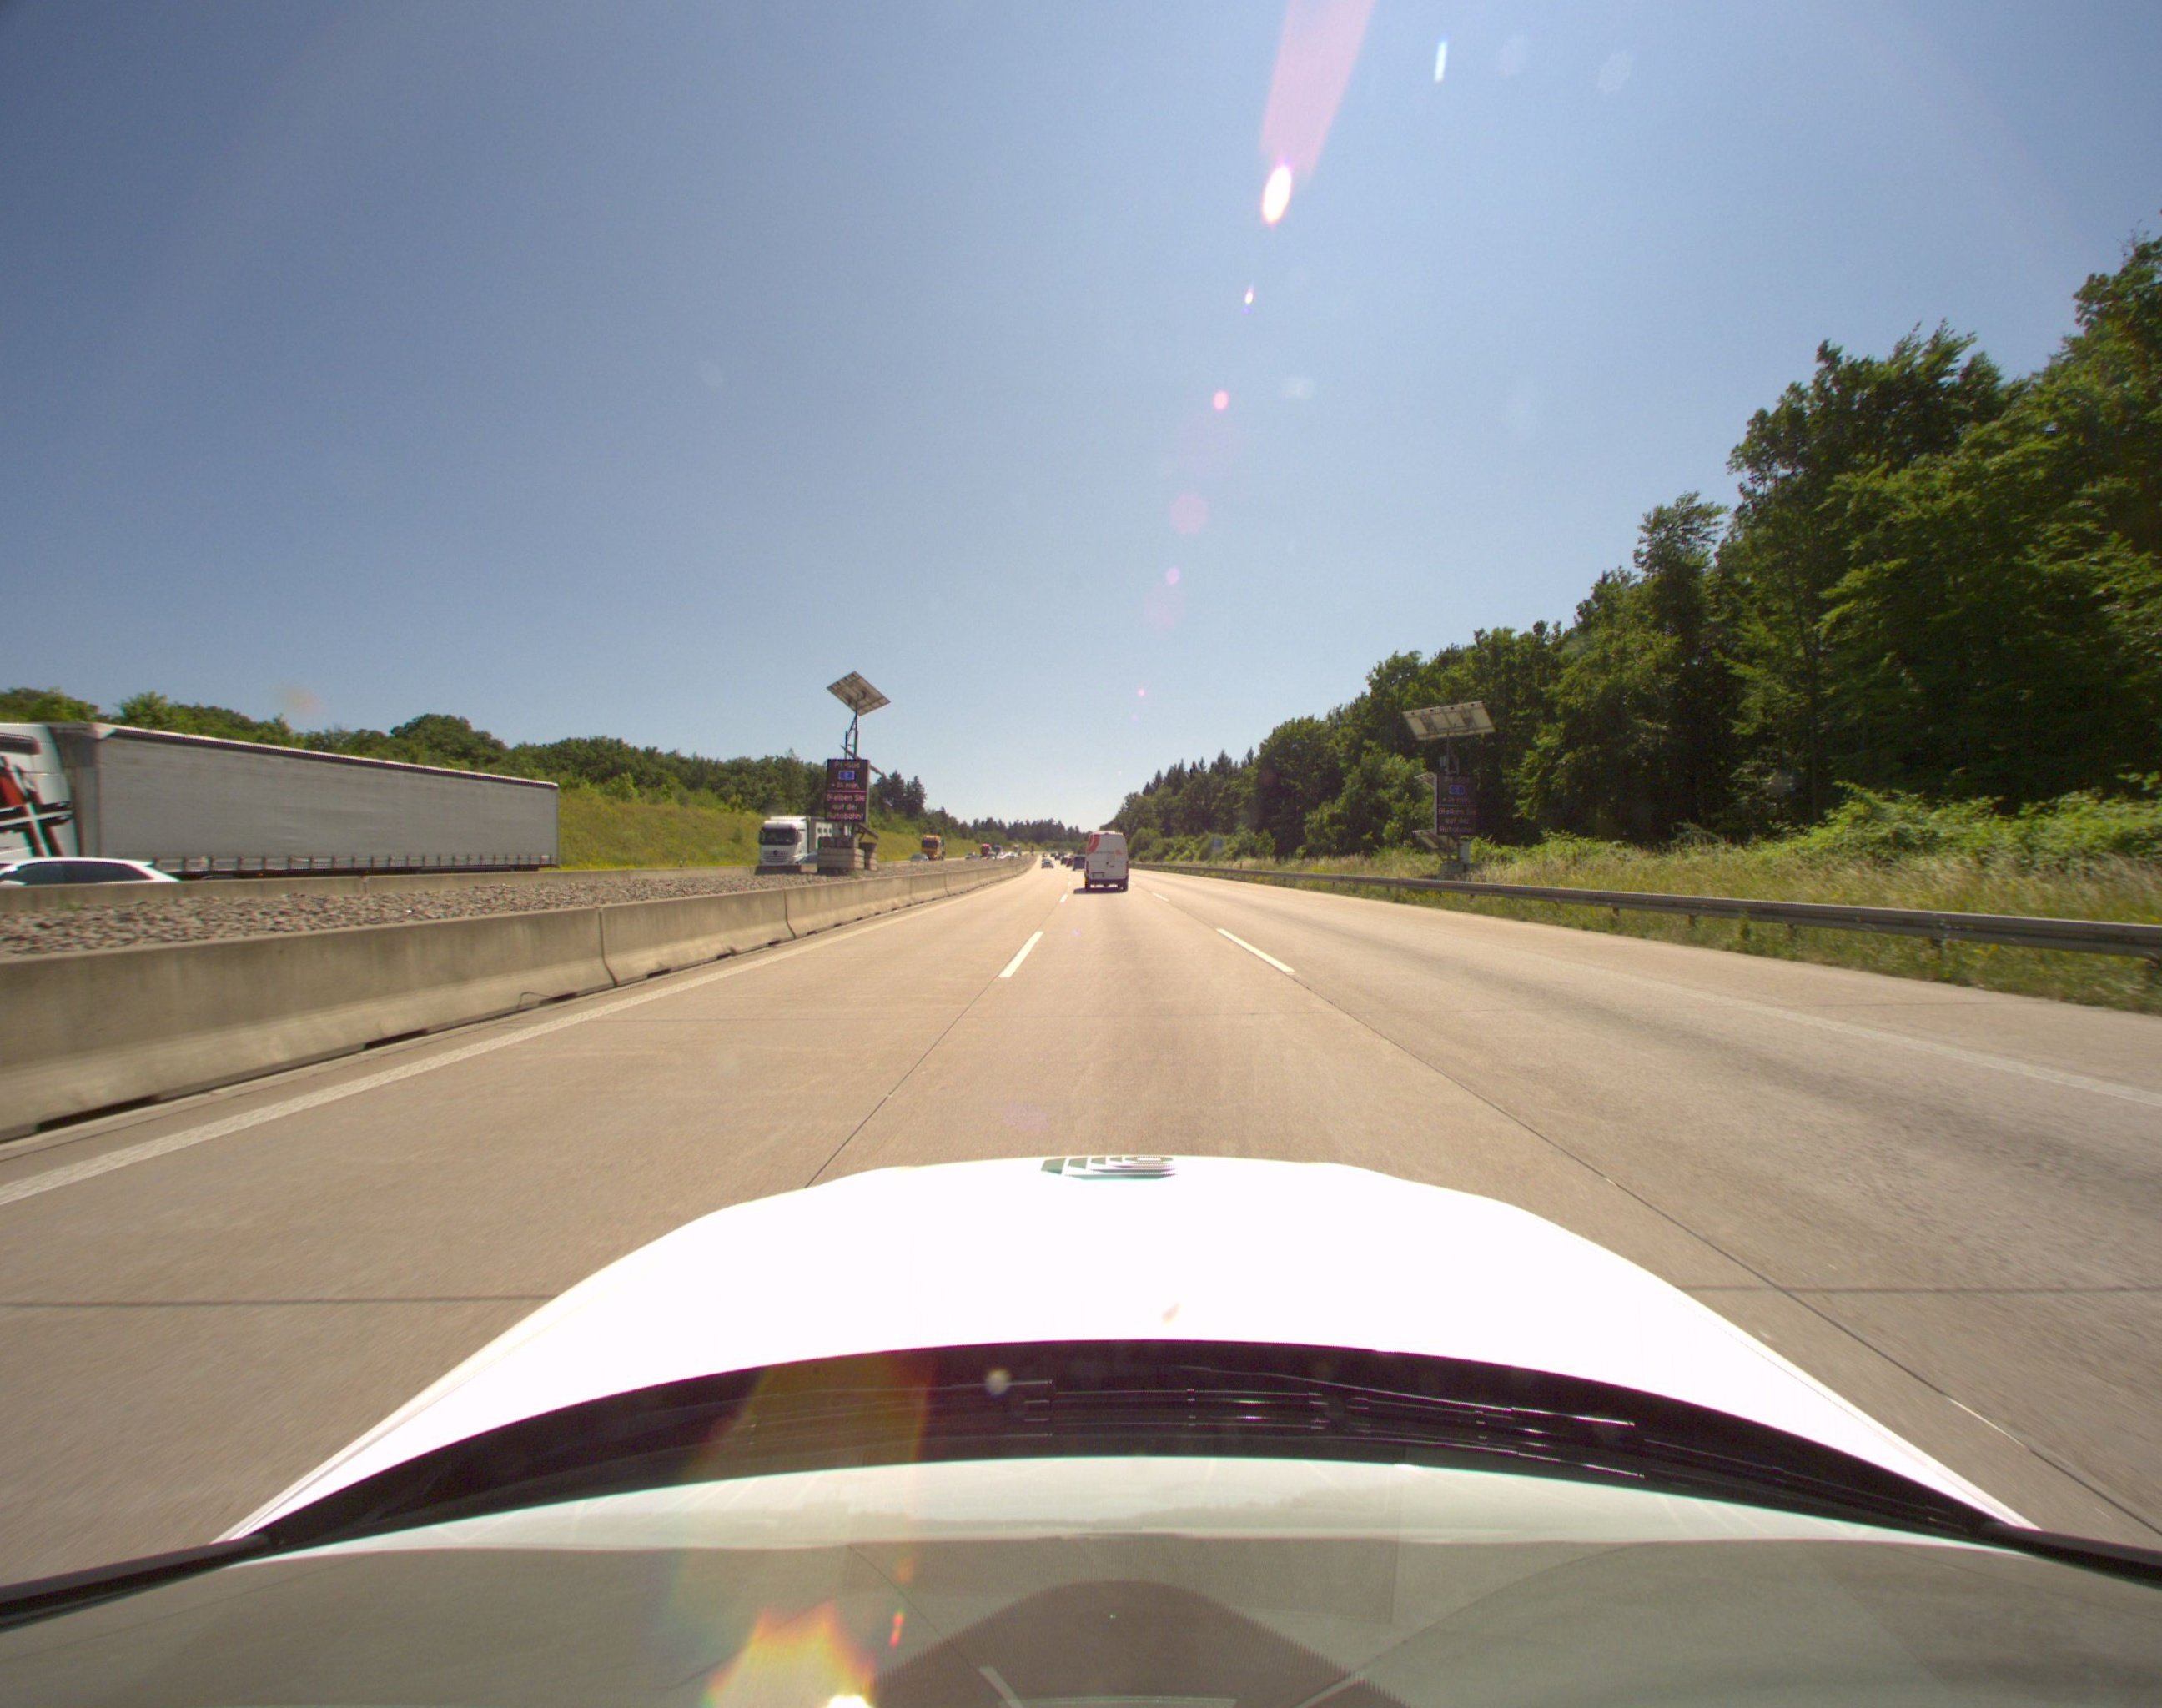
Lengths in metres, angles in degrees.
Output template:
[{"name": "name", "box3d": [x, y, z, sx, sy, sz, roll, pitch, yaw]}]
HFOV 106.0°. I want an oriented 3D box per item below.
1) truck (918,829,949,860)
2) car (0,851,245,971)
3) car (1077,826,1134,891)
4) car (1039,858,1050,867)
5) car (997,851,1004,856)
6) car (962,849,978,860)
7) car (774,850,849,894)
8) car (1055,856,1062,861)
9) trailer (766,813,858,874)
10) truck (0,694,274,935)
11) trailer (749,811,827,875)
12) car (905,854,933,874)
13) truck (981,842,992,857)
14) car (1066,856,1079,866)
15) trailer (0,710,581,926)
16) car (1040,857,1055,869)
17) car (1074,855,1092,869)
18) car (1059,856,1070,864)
[{"name": "truck", "box3d": [-22.409, -1.401, 124.400, 2.906, 4.513, 11.250, -1, 0, -2]}, {"name": "car", "box3d": [-16.058, 0.819, 12.626, 1.986, 1.684, 4.002, -1, 0, 2]}, {"name": "car", "box3d": [1.050, 0.189, 38.470, 2.222, 2.844, 5.448, 0, 0, -3]}, {"name": "car", "box3d": [-7.216, 1.644, 161.779, 1.986, 1.684, 4.001, 2, 0, 1]}, {"name": "car", "box3d": [-25.031, -0.077, 254.310, 1.989, 1.583, 4.176, 1, 0, -3]}, {"name": "car", "box3d": [-21.192, 0.038, 155.485, 2.276, 2.013, 4.802, -1, 0, 0]}, {"name": "car", "box3d": [-12.123, 0.790, 36.954, 1.986, 1.882, 4.001, -1, 0, 1]}, {"name": "car", "box3d": [-6.975, 1.415, 252.585, 1.986, 1.684, 4.001, 2, 0, 1]}, {"name": "trailer", "box3d": [-20.459, -0.669, 63.082, 2.925, 4.169, 13.181, 2, 0, -1]}, {"name": "truck", "box3d": [-20.210, -0.710, 15.681, 2.924, 4.169, 6.228, 2, -1, 0]}, {"name": "trailer", "box3d": [-20.320, -0.706, 56.930, 2.925, 4.169, 6.886, 2, 0, -1]}, {"name": "car", "box3d": [-16.560, 1.011, 83.488, 1.987, 2.014, 3.999, -1, 0, 0]}, {"name": "truck", "box3d": [-28.165, -1.386, 243.062, 2.926, 4.169, 5.976, 2, -1, -3]}, {"name": "car", "box3d": [-1.332, 1.128, 133.833, 1.986, 1.684, 4.001, 2, 0, 1]}, {"name": "trailer", "box3d": [-20.190, -0.656, 23.145, 2.924, 4.169, 14.386, 2, 0, 0]}, {"name": "car", "box3d": [-4.961, 1.310, 121.715, 1.986, 1.684, 4.001, 2, 0, 1]}, {"name": "car", "box3d": [0.251, 0.978, 100.781, 1.989, 1.684, 3.995, 2, 0, -4]}, {"name": "car", "box3d": [-3.506, 1.336, 172.838, 1.986, 1.684, 4.001, 2, 0, 1]}]
